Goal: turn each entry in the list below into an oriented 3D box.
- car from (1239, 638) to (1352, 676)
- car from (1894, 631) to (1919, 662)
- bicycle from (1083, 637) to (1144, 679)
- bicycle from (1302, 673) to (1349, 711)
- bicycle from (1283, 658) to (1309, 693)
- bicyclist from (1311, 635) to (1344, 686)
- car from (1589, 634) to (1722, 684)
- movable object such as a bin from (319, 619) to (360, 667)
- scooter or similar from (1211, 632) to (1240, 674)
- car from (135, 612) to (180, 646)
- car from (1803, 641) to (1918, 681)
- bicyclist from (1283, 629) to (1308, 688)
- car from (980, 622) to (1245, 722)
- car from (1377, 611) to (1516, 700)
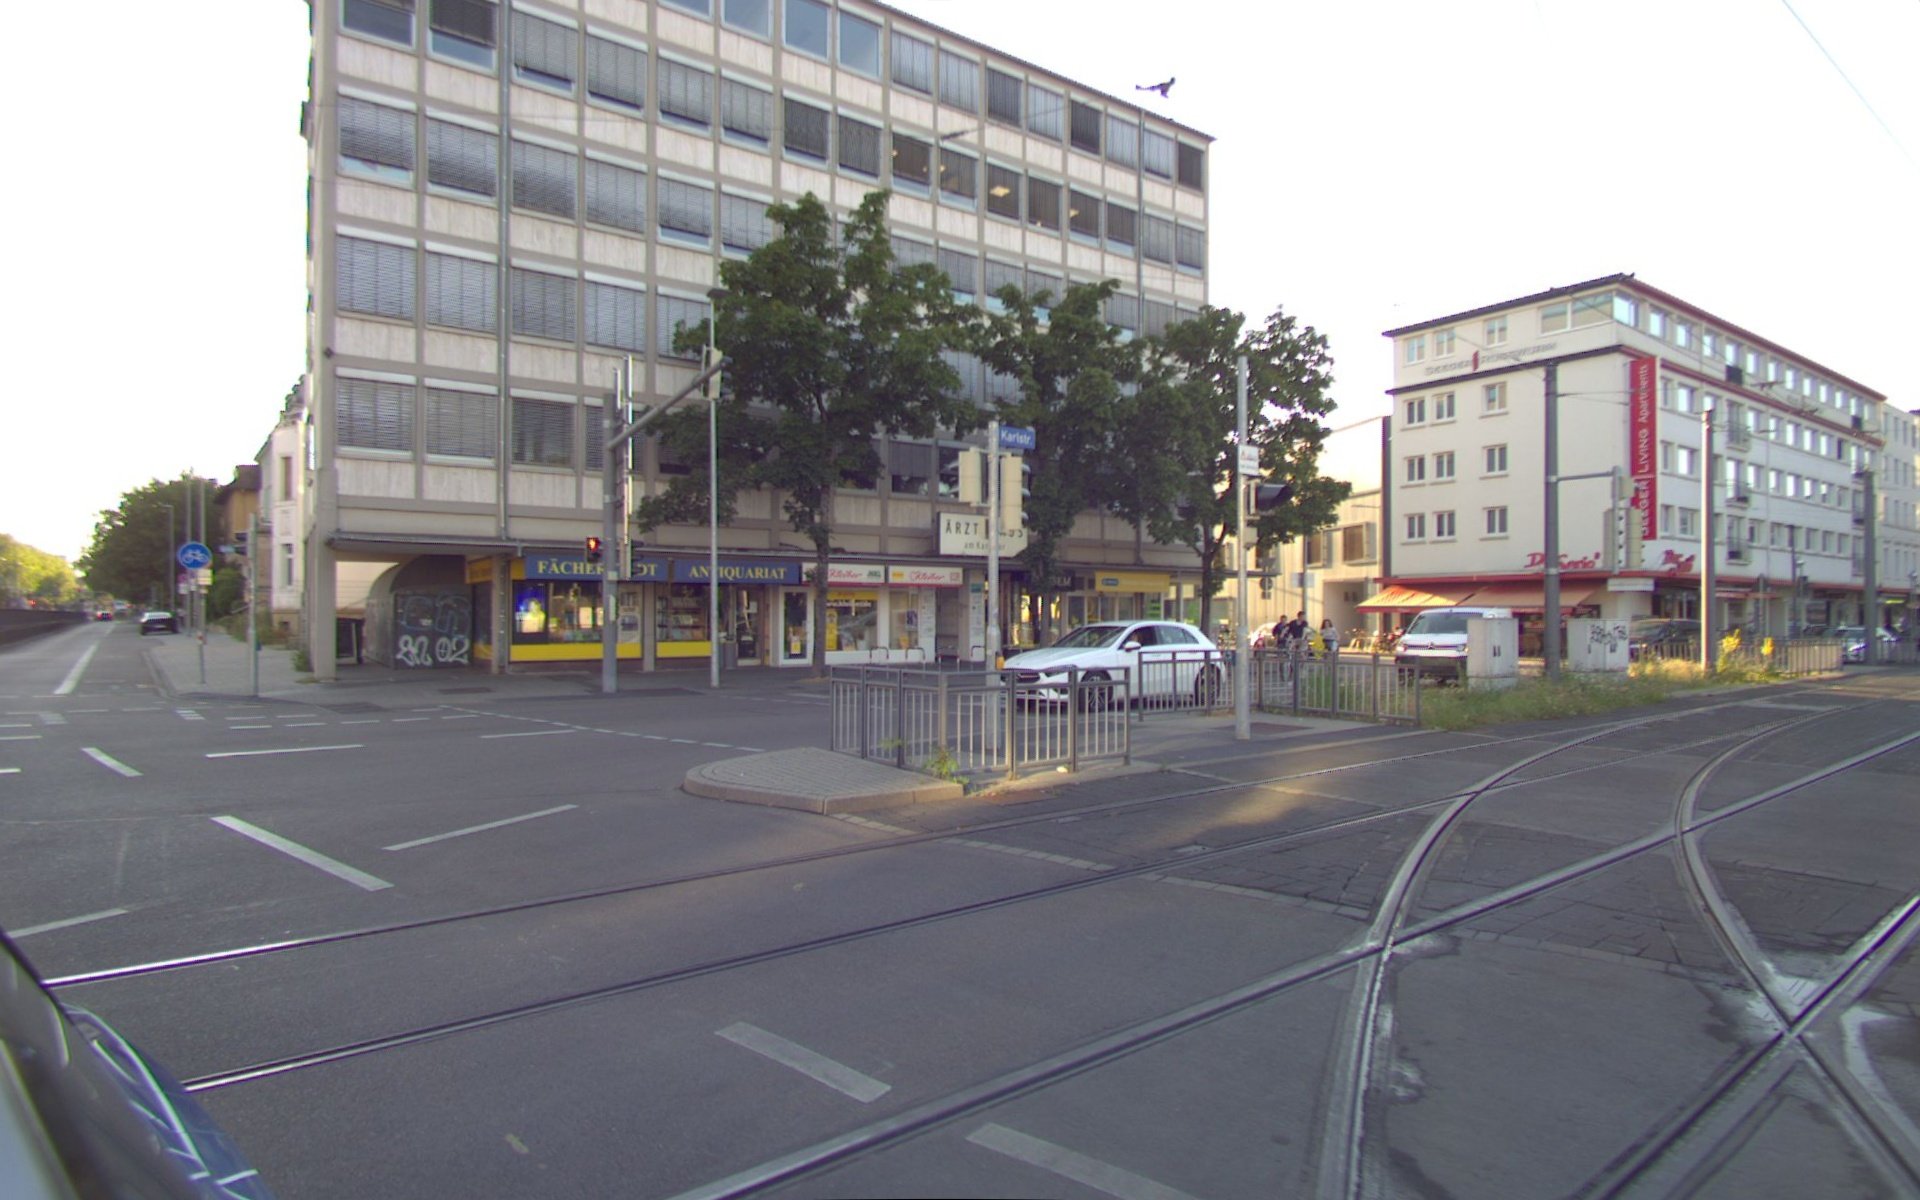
[{"bbox_3d":[13.959,2.334,42.300,1.708,1.447,4.384,1,-1,-33],"label":"car"},{"bbox_3d":[54.281,2.587,56.630,3.932,1.678,2.006,1,-1,-32],"label":"car"},{"bbox_3d":[4.482,1.689,29.682,0.656,1.149,1.748,2,-1,-42],"label":"bicycle"},{"bbox_3d":[10.262,2.557,28.373,0.723,0.937,1.930,-1,-2,36],"label":"bicycle"},{"bbox_3d":[8.742,1.945,26.327,0.610,0.831,1.794,0,-2,19],"label":"bicycle"},{"bbox_3d":[10.336,1.692,28.482,0.714,1.380,0.676,-1,-2,36],"label":"bicyclist"},{"bbox_3d":[23.513,1.964,34.199,4.228,1.586,2.006,1,-2,-29],"label":"car"},{"bbox_3d":[-17.659,1.202,28.809,0.944,1.337,1.418,1,-1,-32],"label":"movable object such as a bin"},{"bbox_3d":[8.659,1.701,33.030,0.507,1.332,1.282,1,-2,-5],"label":"scooter or similar"},{"bbox_3d":[-50.327,1.806,63.536,1.967,2.029,4.272,1,-2,-36],"label":"car"},{"bbox_3d":[35.617,2.381,40.018,4.581,1.452,2.047,1,-1,-30],"label":"car"},{"bbox_3d":[8.744,1.505,26.343,0.609,1.498,0.713,0,-2,19],"label":"bicyclist"},{"bbox_3d":[2.626,1.168,16.863,4.490,1.460,1.820,2,-5,-39],"label":"car"},{"bbox_3d":[11.516,1.226,23.788,1.998,1.852,4.813,-1,-2,38],"label":"car"}]
